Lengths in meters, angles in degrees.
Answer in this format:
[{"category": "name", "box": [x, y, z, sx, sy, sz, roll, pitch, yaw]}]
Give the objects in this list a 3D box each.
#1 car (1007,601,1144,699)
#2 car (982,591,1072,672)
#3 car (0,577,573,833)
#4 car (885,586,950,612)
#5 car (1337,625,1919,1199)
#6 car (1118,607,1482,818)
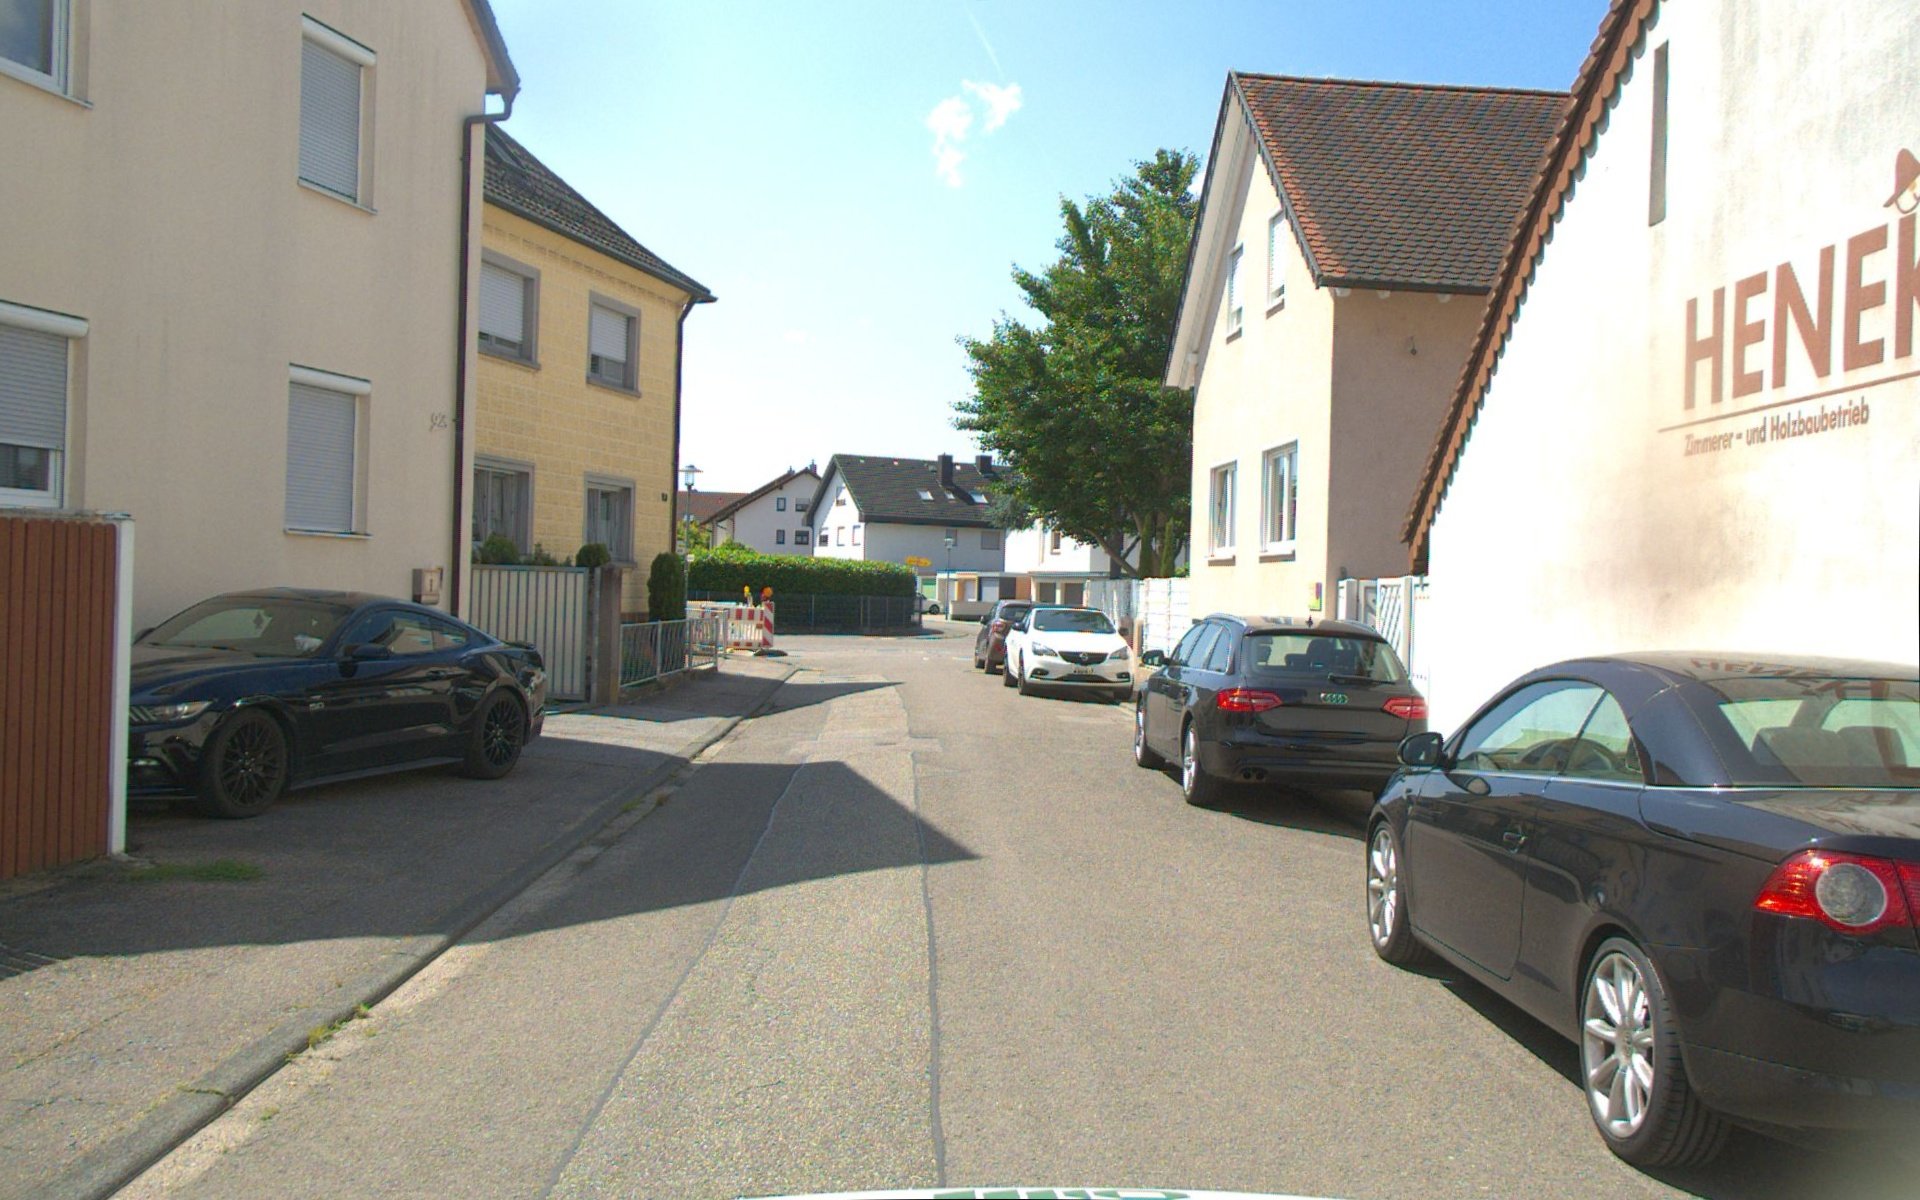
[{"category": "car", "box": [1.864, 0.777, 28.033, 1.857, 1.453, 4.736, 2, 0, -1]}, {"category": "car", "box": [1.352, 0.620, 34.791, 1.677, 1.559, 4.035, 2, 0, 0]}, {"category": "car", "box": [-4.591, 0.604, 11.542, 1.732, 1.373, 4.472, 2, 0, 15]}, {"category": "car", "box": [-2.590, -0.066, 100.543, 3.553, 1.433, 1.770, 2, 0, -25]}, {"category": "car", "box": [2.813, 0.856, 5.955, 1.857, 1.389, 4.414, 2, 0, 0]}, {"category": "car", "box": [2.620, 0.800, 13.976, 1.858, 1.389, 4.734, 2, 0, -3]}]
